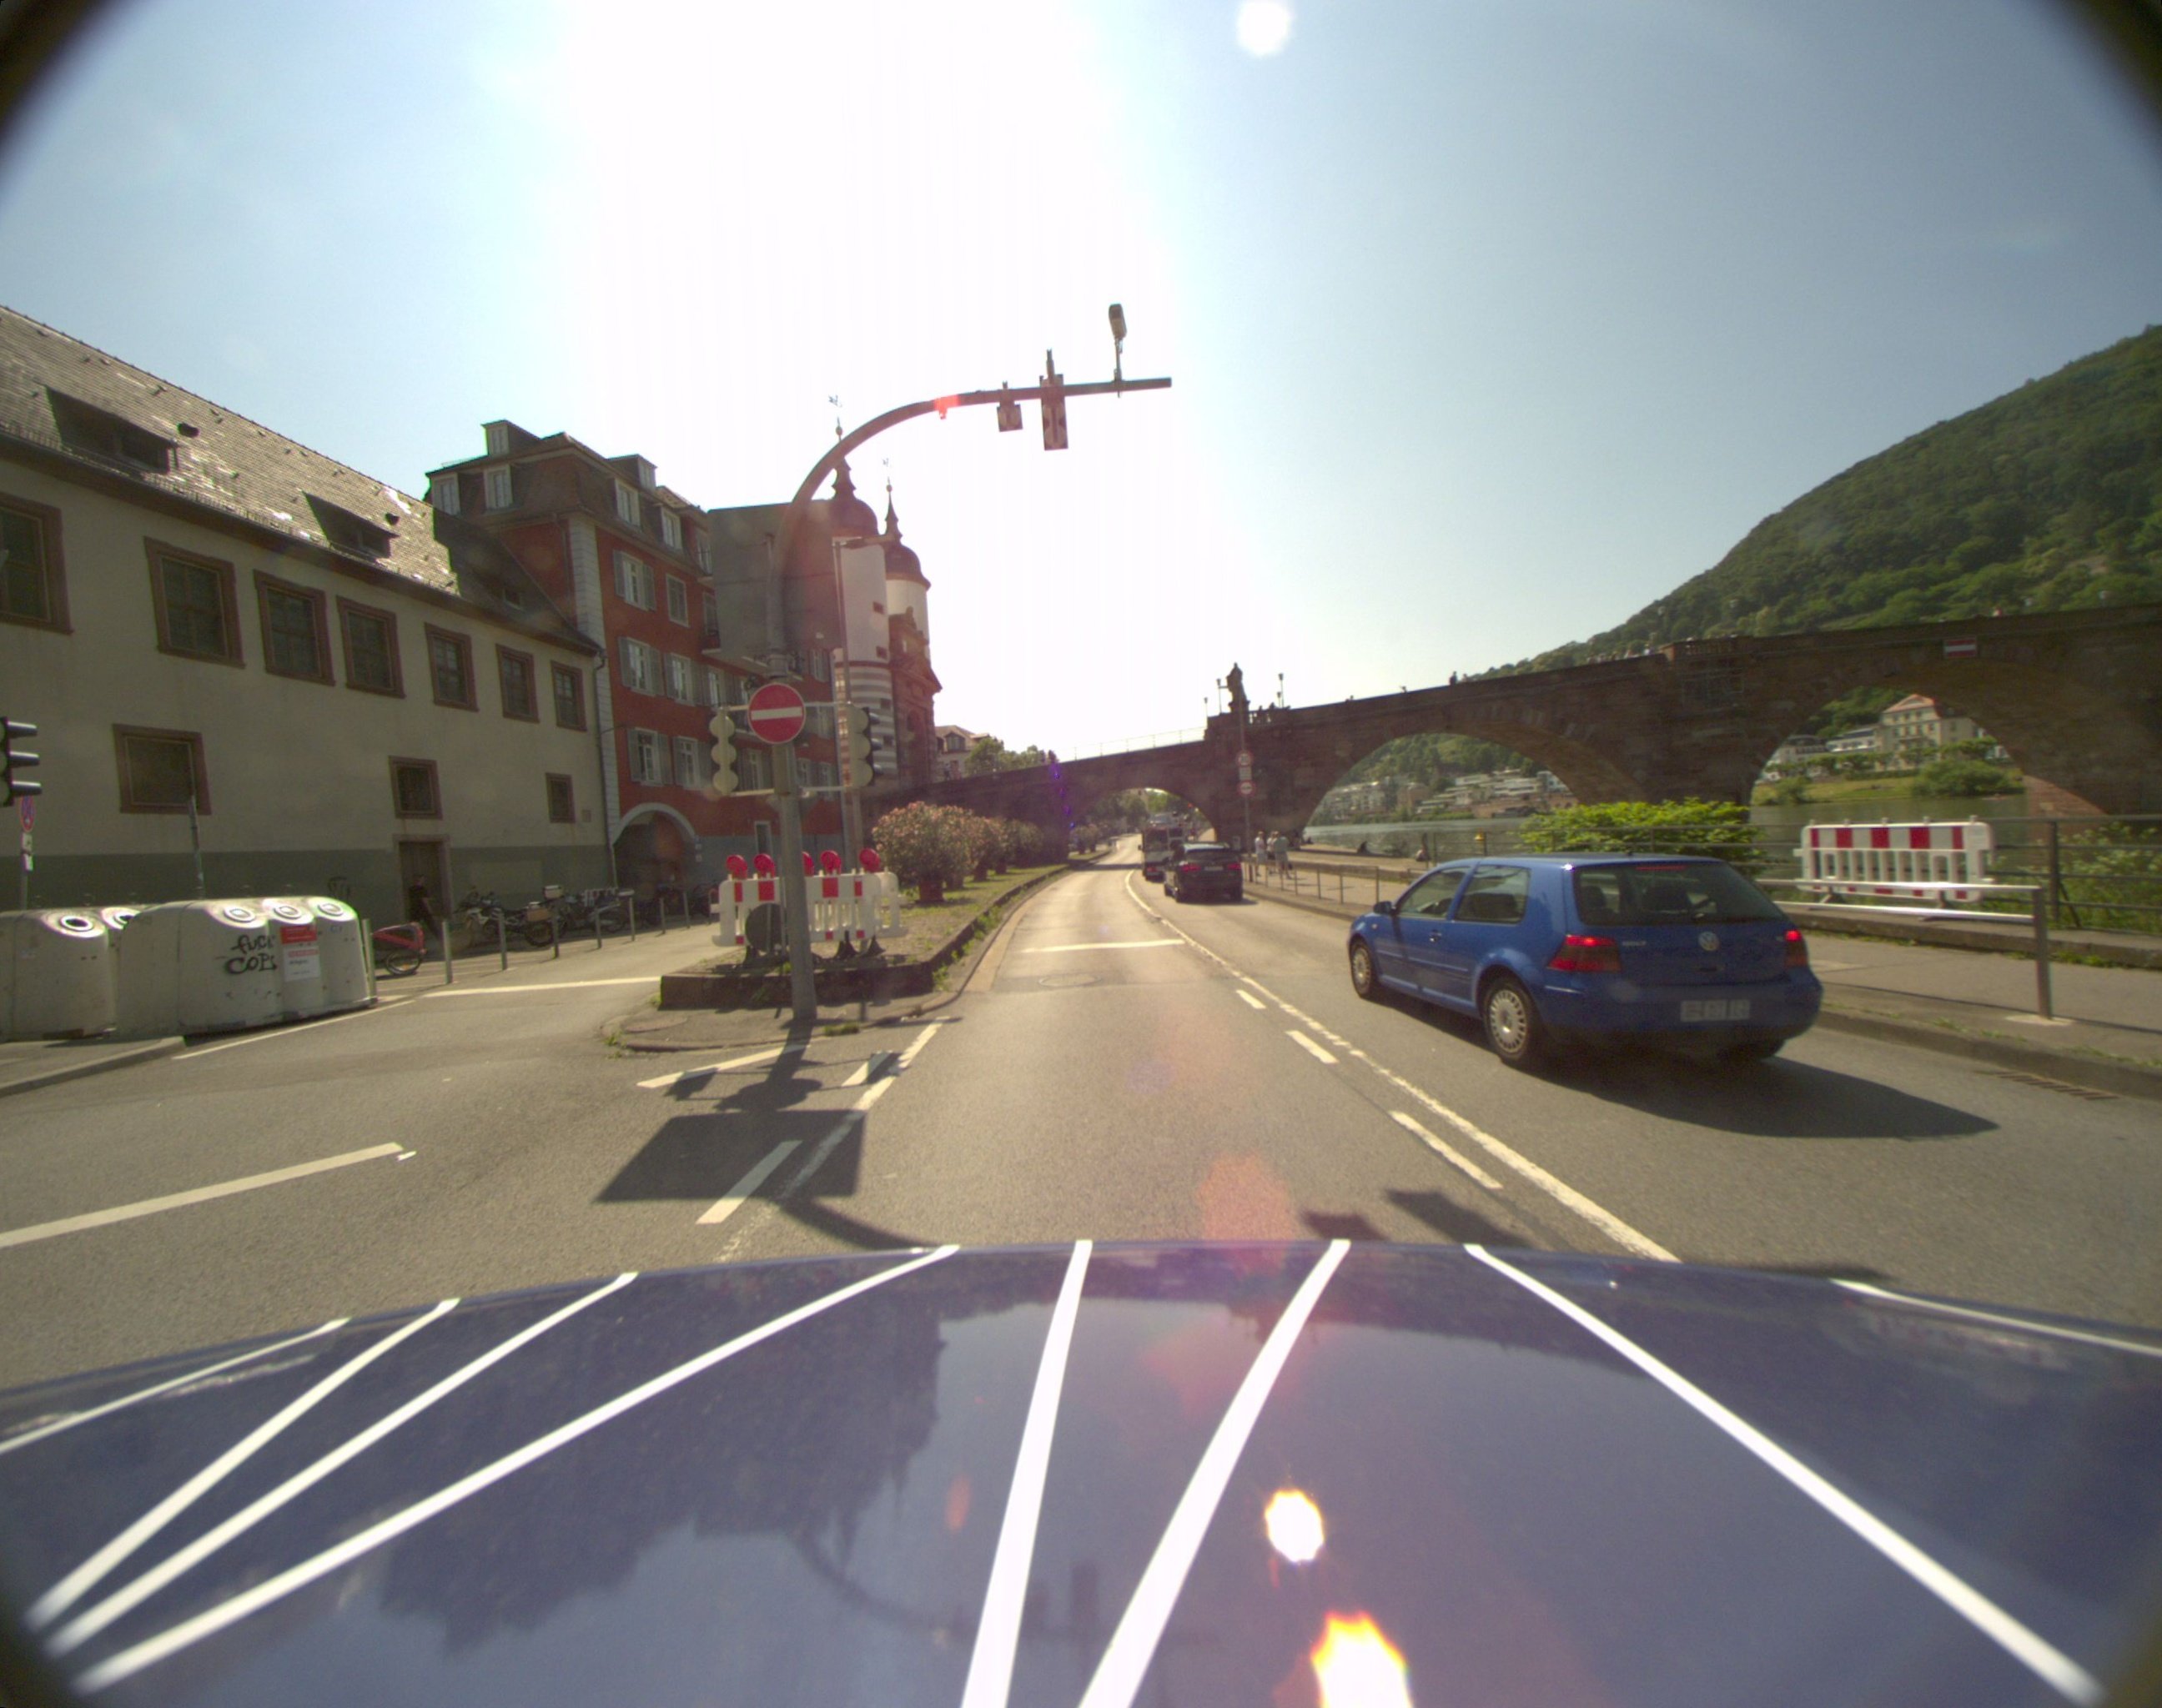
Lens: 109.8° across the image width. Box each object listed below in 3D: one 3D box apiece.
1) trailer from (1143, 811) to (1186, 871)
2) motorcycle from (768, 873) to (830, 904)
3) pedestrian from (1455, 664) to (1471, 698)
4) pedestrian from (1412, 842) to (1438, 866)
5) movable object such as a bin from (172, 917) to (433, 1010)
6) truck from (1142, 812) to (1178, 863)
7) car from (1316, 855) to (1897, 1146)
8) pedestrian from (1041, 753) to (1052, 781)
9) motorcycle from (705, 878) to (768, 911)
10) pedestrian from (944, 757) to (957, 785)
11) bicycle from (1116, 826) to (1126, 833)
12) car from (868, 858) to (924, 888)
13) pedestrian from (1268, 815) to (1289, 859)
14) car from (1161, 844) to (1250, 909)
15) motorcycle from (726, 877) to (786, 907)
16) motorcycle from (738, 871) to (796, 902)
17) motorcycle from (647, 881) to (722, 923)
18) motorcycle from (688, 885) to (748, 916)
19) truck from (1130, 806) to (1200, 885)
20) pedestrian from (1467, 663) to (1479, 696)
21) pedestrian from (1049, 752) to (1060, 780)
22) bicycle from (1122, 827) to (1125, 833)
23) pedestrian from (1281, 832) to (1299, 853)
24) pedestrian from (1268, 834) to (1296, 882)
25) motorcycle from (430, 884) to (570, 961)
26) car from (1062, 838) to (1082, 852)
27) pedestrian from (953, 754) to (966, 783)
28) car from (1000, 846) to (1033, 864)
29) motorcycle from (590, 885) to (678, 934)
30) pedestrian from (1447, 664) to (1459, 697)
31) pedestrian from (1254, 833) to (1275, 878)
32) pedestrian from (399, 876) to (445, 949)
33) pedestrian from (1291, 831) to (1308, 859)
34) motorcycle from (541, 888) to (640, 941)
[{"bbox_3d":[5.693,-1.008,53.077,2.529,3.624,11.530,-2,2,5],"label":"trailer"},{"bbox_3d":[-13.322,1.609,35.919,2.547,1.226,0.840,-4,1,-36],"label":"motorcycle"},{"bbox_3d":[24.761,-11.191,49.213,0.694,2.003,0.625,-3,3,0],"label":"pedestrian"},{"bbox_3d":[17.071,0.005,37.742,0.967,1.124,0.831,-3,1,9],"label":"pedestrian"},{"bbox_3d":[-13.344,1.829,13.257,2.961,1.104,1.255,-3,1,-36],"label":"movable object such as a bin"},{"bbox_3d":[6.195,-1.277,59.065,2.529,3.727,6.248,-1,1,7],"label":"truck"},{"bbox_3d":[3.581,0.806,6.348,1.734,1.482,4.324,-2,1,-2],"label":"car"},{"bbox_3d":[-2.613,-6.540,57.146,0.640,2.003,0.707,-2,3,8],"label":"pedestrian"},{"bbox_3d":[-13.971,1.616,30.870,2.201,1.141,0.627,-4,2,-39],"label":"motorcycle"},{"bbox_3d":[-9.561,-6.057,55.669,0.579,2.003,0.707,-2,3,8],"label":"pedestrian"},{"bbox_3d":[8.712,-5.293,165.097,2.159,1.361,0.584,0,3,10],"label":"bicycle"},{"bbox_3d":[-11.404,1.117,47.089,1.674,1.534,3.813,-4,2,14],"label":"car"},{"bbox_3d":[8.199,-0.700,31.496,0.543,1.782,0.823,-3,2,31],"label":"pedestrian"},{"bbox_3d":[3.589,0.578,22.696,1.868,1.671,4.453,-2,1,-1],"label":"car"},{"bbox_3d":[-13.821,1.593,32.332,2.201,1.070,0.627,-4,2,-39],"label":"motorcycle"},{"bbox_3d":[-13.990,1.425,33.870,2.156,1.226,0.840,-4,1,-36],"label":"motorcycle"},{"bbox_3d":[-13.757,1.643,26.388,2.186,1.260,0.781,-4,2,-31],"label":"motorcycle"},{"bbox_3d":[-13.923,1.764,29.185,1.935,0.981,0.546,-4,2,-39],"label":"motorcycle"},{"bbox_3d":[3.811,-0.412,36.113,2.382,3.242,7.610,-3,1,0],"label":"truck"},{"bbox_3d":[25.399,-11.290,49.230,0.467,2.003,0.639,-3,3,0],"label":"pedestrian"},{"bbox_3d":[-1.983,-6.535,56.366,0.640,2.003,0.707,-2,3,8],"label":"pedestrian"},{"bbox_3d":[9.015,-5.127,161.073,0.476,1.255,2.163,-1,3,8],"label":"bicycle"},{"bbox_3d":[13.008,-0.696,47.272,0.790,1.223,1.026,-4,1,3],"label":"pedestrian"},{"bbox_3d":[7.349,0.145,27.793,0.758,1.713,0.543,-5,2,-33],"label":"pedestrian"},{"bbox_3d":[-13.744,1.575,18.105,2.501,1.524,1.051,-4,2,-33],"label":"motorcycle"},{"bbox_3d":[-1.058,-1.156,95.569,1.614,1.406,3.905,-3,3,12],"label":"car"},{"bbox_3d":[-8.816,-6.177,55.124,0.640,2.003,0.707,-2,3,8],"label":"pedestrian"},{"bbox_3d":[-6.131,0.076,72.574,1.720,1.403,3.886,-1,2,17],"label":"car"},{"bbox_3d":[-13.594,1.676,23.158,2.201,1.260,0.627,-4,2,-31],"label":"motorcycle"},{"bbox_3d":[24.149,-11.237,49.302,0.467,2.003,0.639,-3,3,0],"label":"pedestrian"},{"bbox_3d":[7.437,0.052,30.834,0.520,1.782,0.823,-3,2,31],"label":"pedestrian"},{"bbox_3d":[-17.100,1.505,19.733,0.496,1.813,0.618,-2,3,1],"label":"pedestrian"},{"bbox_3d":[13.336,-0.535,46.357,0.790,1.641,0.774,-4,1,3],"label":"pedestrian"},{"bbox_3d":[-13.776,1.676,21.407,2.239,1.246,0.626,-4,4,-31],"label":"motorcycle"}]
